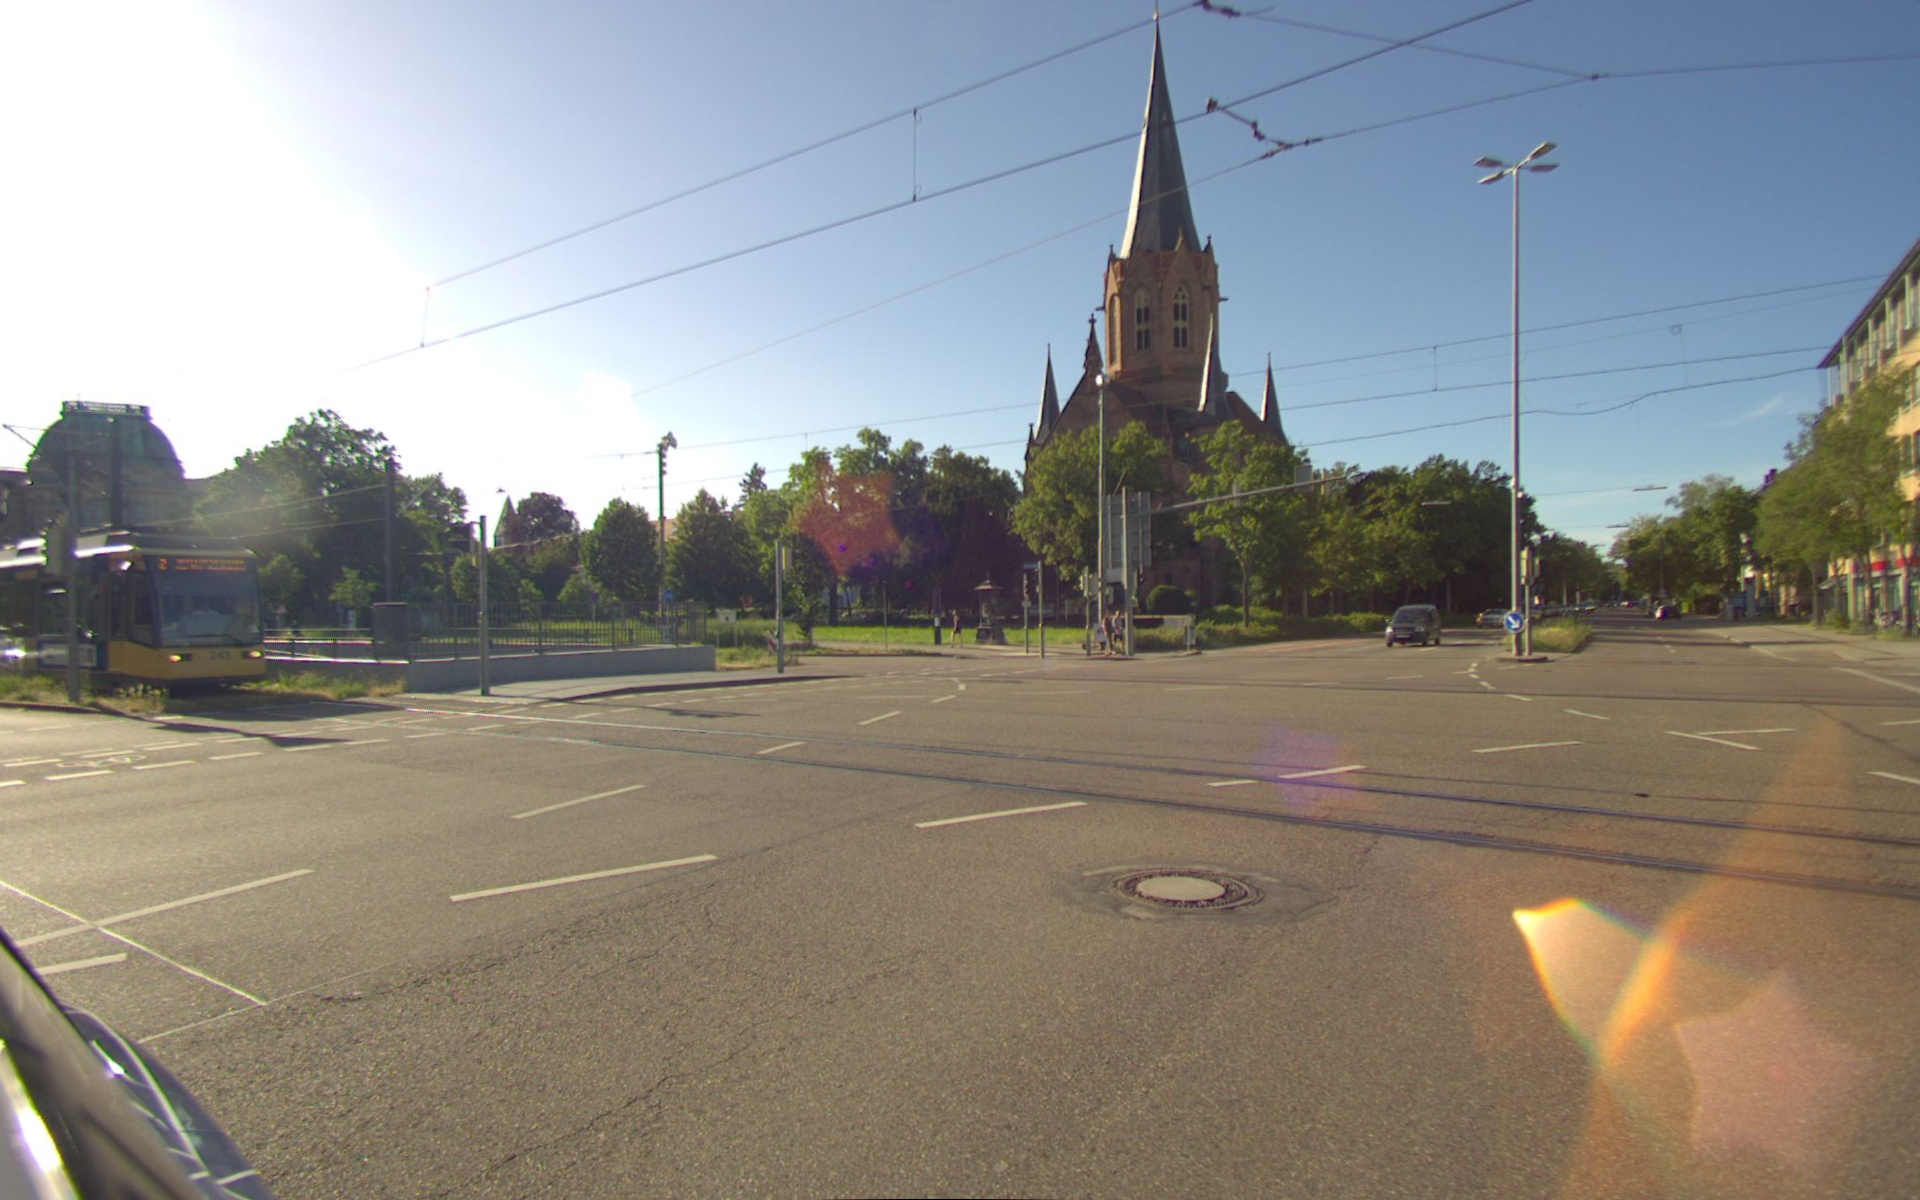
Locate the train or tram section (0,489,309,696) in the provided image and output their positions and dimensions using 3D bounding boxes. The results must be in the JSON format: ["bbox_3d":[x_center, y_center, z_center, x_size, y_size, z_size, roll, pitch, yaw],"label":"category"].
[{"bbox_3d":[-19.578,-0.043,23.084,13.147,3.713,2.925,-1,0,34],"label":"train or tram section"}]

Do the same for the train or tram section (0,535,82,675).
[{"bbox_3d":[-30.583,0.246,30.417,13.599,3.639,2.925,-1,0,34],"label":"train or tram section"}]

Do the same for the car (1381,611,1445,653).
[{"bbox_3d":[19.739,1.349,43.993,1.834,1.585,3.897,0,2,35],"label":"car"}]

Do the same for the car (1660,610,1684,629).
[{"bbox_3d":[70.750,1.921,100.598,1.833,1.585,3.899,0,2,33],"label":"car"}]

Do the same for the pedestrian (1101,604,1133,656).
[{"bbox_3d":[6.242,1.175,40.253,0.923,2.028,0.869,0,2,35],"label":"pedestrian"}]

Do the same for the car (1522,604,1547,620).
[{"bbox_3d":[66.495,1.372,117.129,1.837,1.585,3.890,0,2,40],"label":"car"}]

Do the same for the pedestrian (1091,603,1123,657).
[{"bbox_3d":[5.708,1.156,39.343,0.923,2.028,0.869,0,2,35],"label":"pedestrian"}]

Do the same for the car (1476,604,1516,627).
[{"bbox_3d":[41.637,1.185,78.572,1.768,1.585,4.651,0,2,40],"label":"car"}]

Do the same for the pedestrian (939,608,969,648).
[{"bbox_3d":[-0.273,1.305,48.087,1.111,1.860,0.836,0,2,31],"label":"pedestrian"}]
